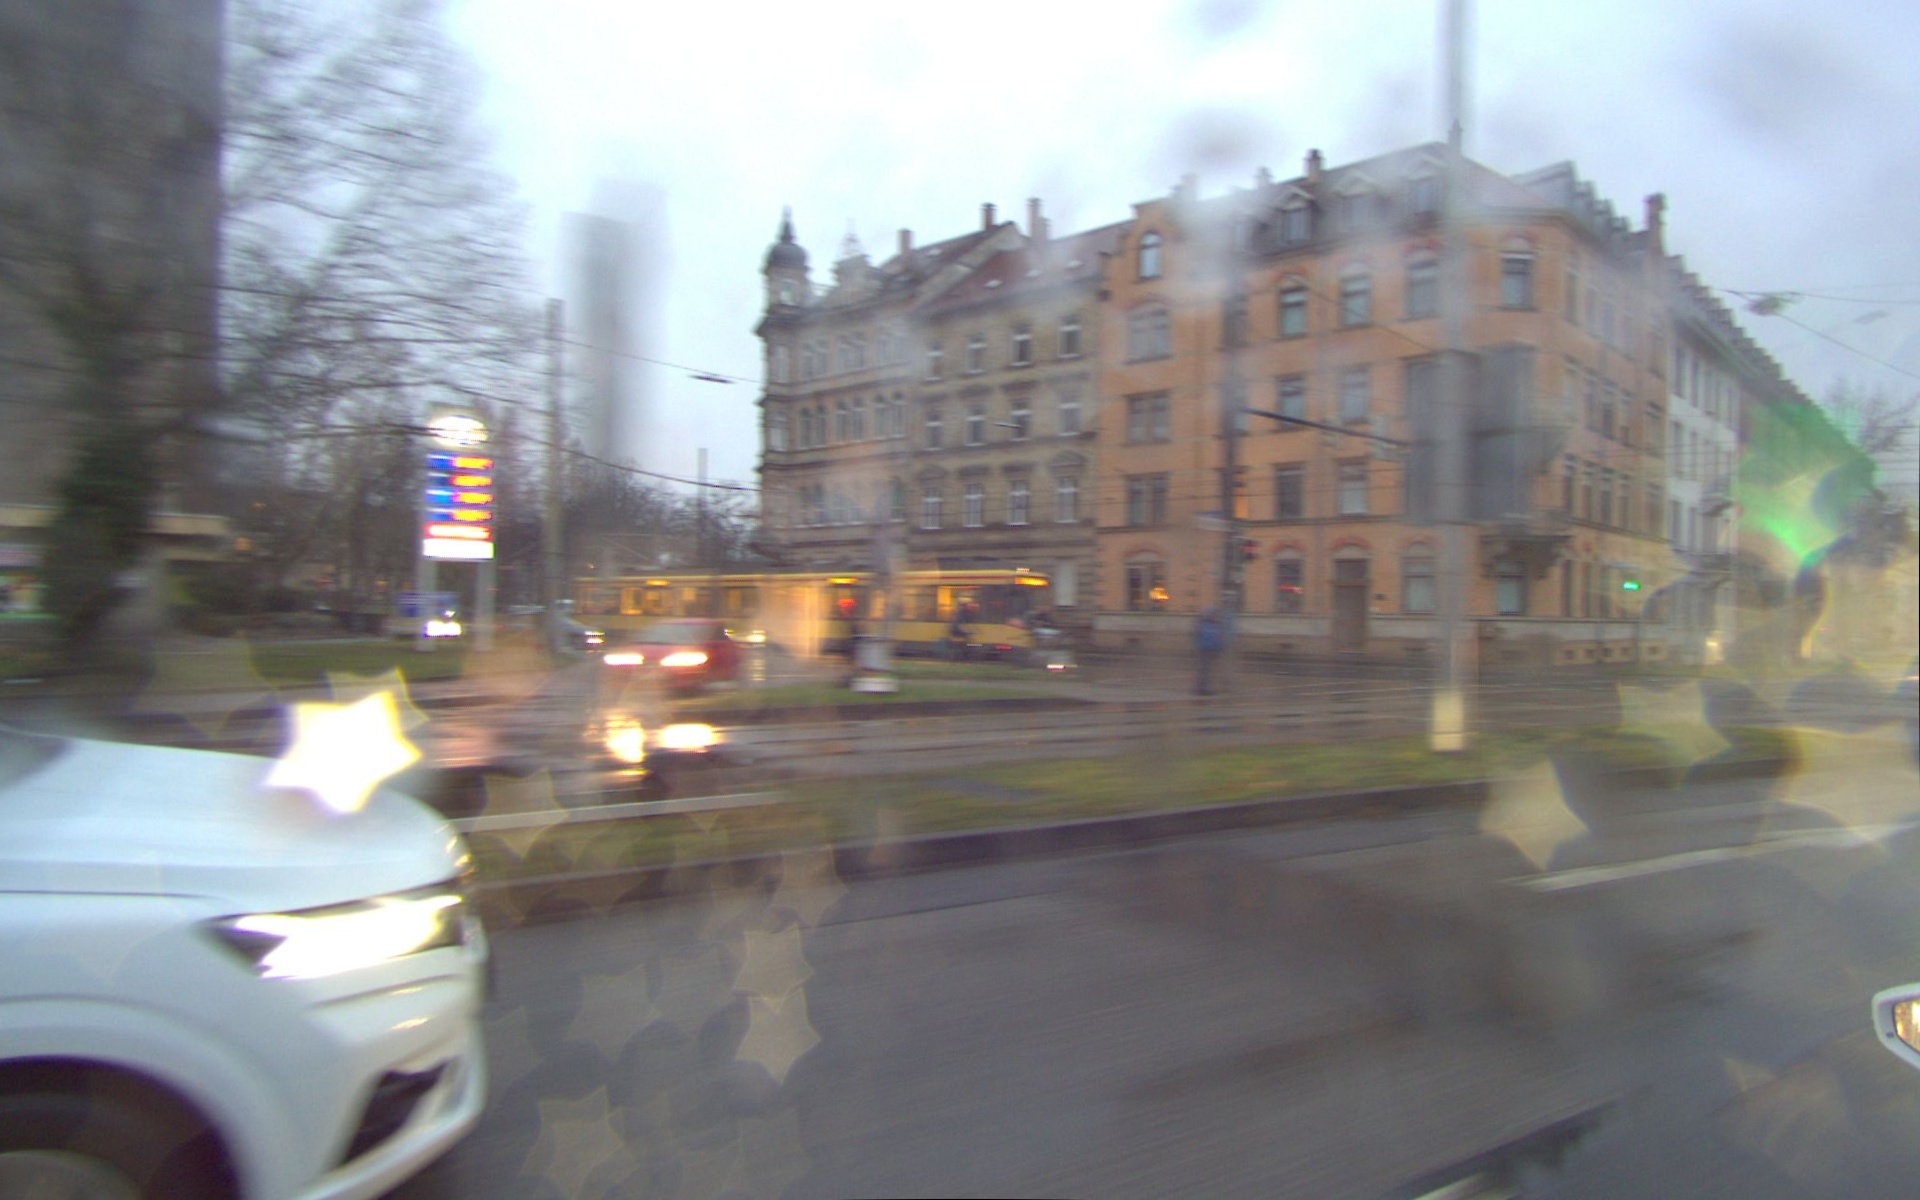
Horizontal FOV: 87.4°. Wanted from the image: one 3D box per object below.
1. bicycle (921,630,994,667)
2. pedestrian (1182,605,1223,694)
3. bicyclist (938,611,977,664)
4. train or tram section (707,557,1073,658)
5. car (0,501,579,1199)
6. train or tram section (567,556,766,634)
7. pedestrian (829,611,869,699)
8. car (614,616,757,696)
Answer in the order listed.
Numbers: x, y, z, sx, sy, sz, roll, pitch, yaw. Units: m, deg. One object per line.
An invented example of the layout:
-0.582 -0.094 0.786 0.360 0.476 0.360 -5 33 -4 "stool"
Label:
-0.075 1.319 27.557 1.946 0.912 0.506 1 0 20 "bicycle"
4.934 1.001 20.477 0.619 1.795 0.466 2 0 -22 "pedestrian"
-0.065 1.027 27.554 0.950 1.409 0.506 1 0 20 "bicyclist"
-3.387 0.056 38.499 16.054 3.231 3.156 2 0 39 "train or tram section"
-2.888 0.586 1.726 3.955 1.507 1.617 1 -1 -32 "car"
-13.958 -0.308 46.957 10.977 3.280 3.156 2 0 39 "train or tram section"
-2.366 1.158 21.371 0.617 1.816 0.530 1 0 35 "pedestrian"
-5.641 1.104 21.146 1.616 1.469 3.853 2 -1 5 "car"
